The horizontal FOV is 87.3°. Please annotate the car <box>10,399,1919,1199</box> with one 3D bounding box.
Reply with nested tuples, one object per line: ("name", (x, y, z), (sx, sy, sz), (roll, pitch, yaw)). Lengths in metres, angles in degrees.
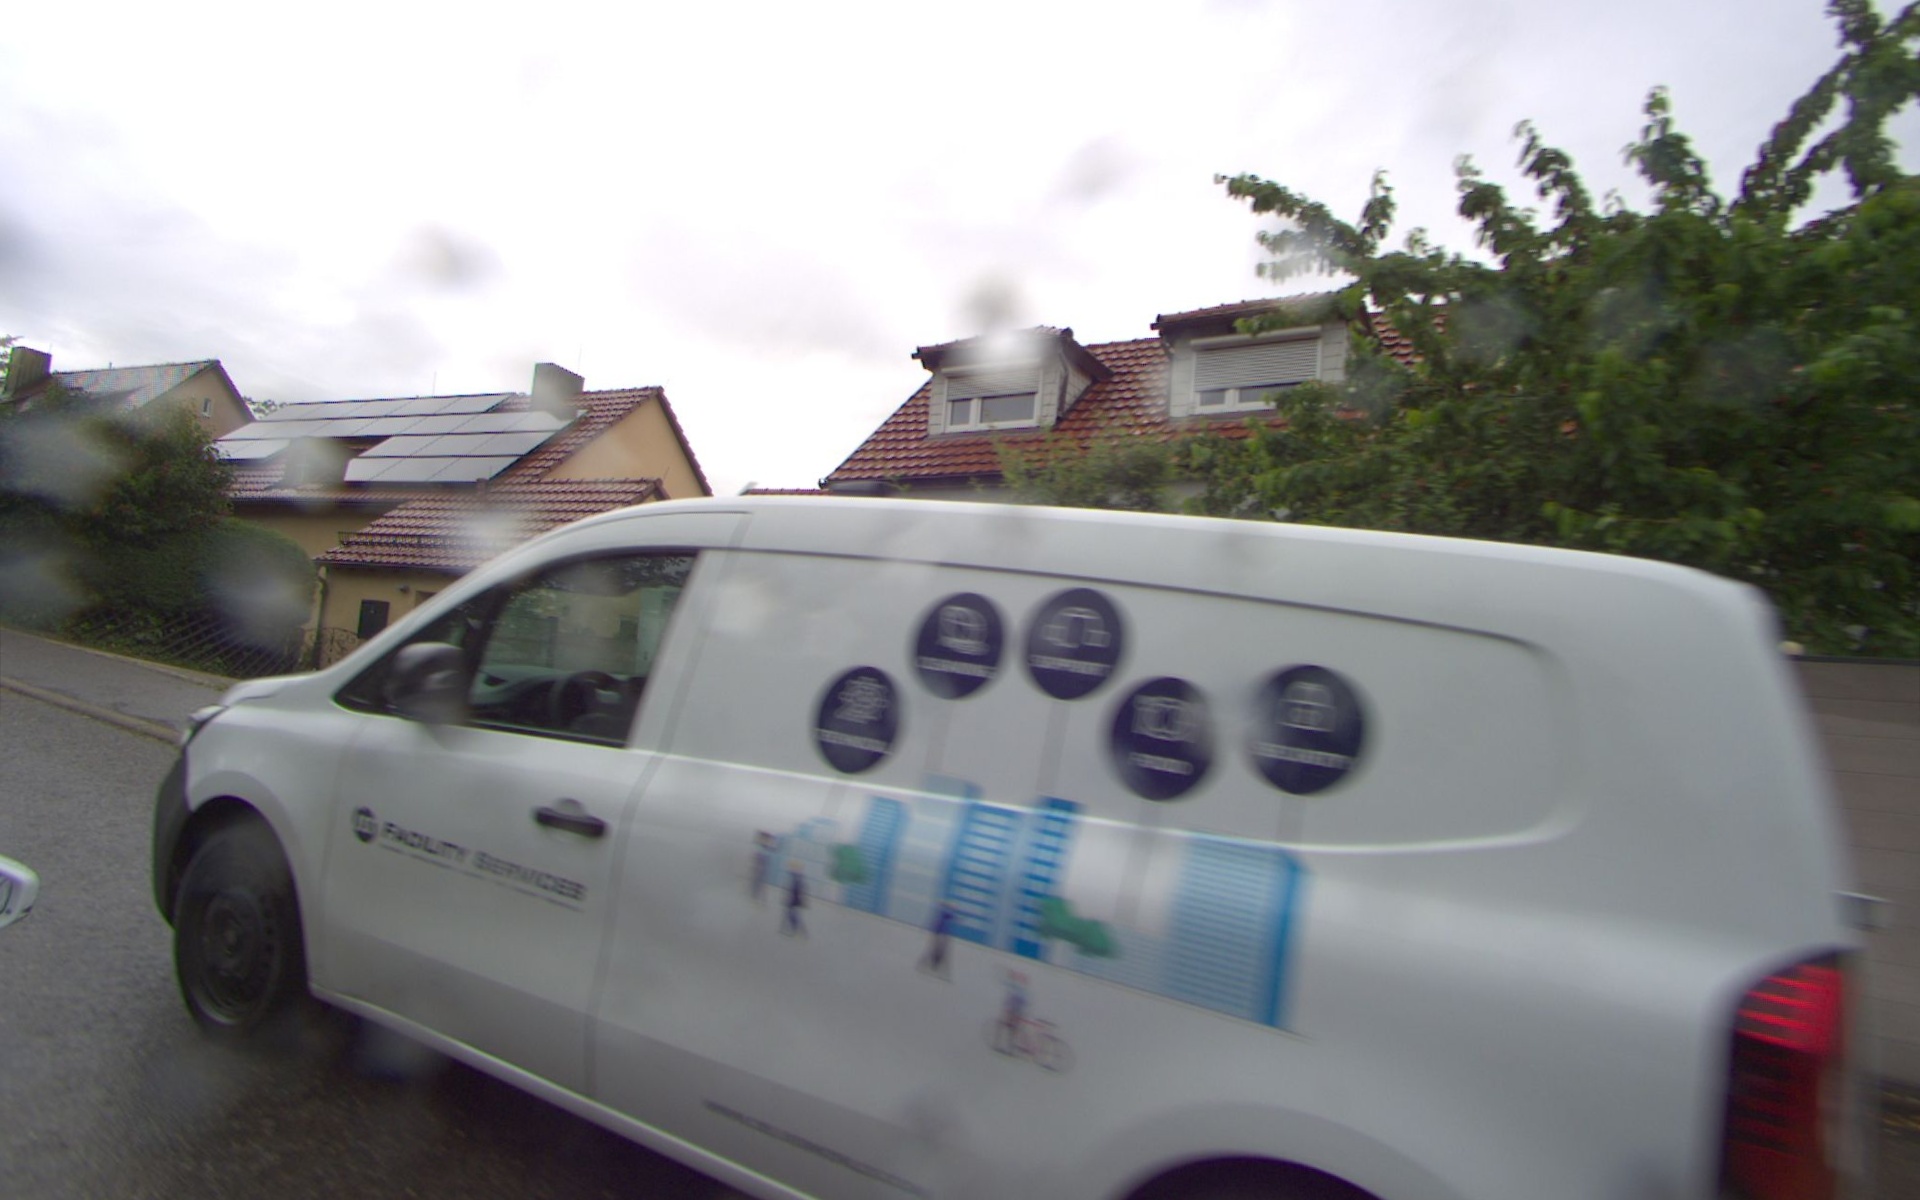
("car", (-0.524, 0.552, 2.991), (4.625, 1.824, 1.784), (6, -2, 27))
